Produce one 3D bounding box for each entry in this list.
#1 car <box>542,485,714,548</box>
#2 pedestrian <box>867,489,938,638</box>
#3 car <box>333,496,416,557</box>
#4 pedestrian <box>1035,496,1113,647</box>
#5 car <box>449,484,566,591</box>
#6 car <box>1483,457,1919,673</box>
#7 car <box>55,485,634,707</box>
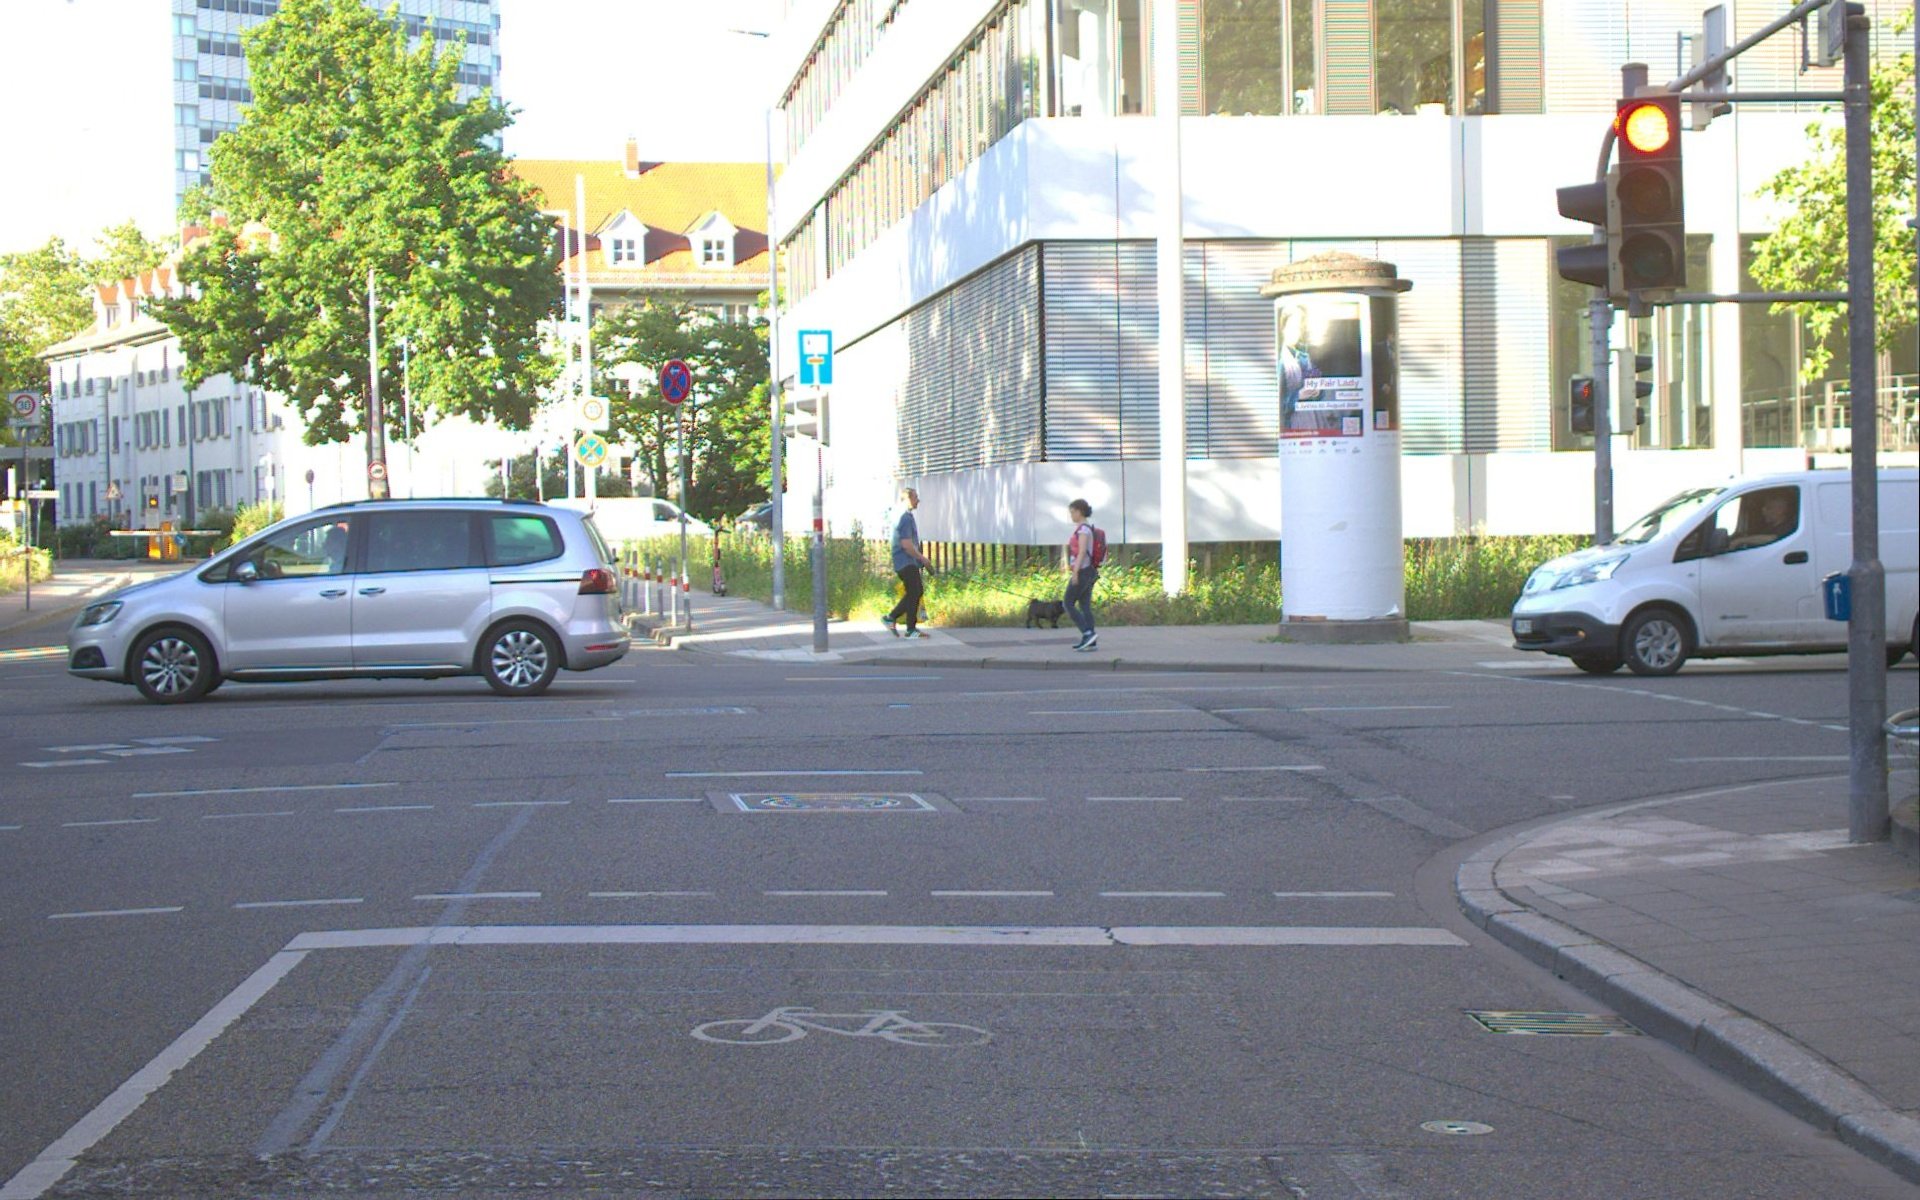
[{"bbox_3d":[-10.049,-2.514,103.943,4.880,1.865,2.001,0,1,-17],"label":"car"},{"bbox_3d":[-0.676,-0.442,40.556,0.653,1.730,0.812,-1,2,12],"label":"pedestrian"},{"bbox_3d":[-16.487,-2.080,96.707,2.100,1.652,4.477,-1,2,-12],"label":"car"},{"bbox_3d":[1.227,-0.313,36.788,0.712,1.594,0.617,-1,2,12],"label":"pedestrian"},{"bbox_3d":[-8.686,-1.214,65.754,2.066,1.956,4.239,-1,2,-9],"label":"car"},{"bbox_3d":[7.230,-0.355,31.337,4.539,1.793,1.637,-2,2,-7],"label":"car"},{"bbox_3d":[-5.267,-0.065,29.903,4.758,1.701,1.800,-2,2,-6],"label":"car"}]
